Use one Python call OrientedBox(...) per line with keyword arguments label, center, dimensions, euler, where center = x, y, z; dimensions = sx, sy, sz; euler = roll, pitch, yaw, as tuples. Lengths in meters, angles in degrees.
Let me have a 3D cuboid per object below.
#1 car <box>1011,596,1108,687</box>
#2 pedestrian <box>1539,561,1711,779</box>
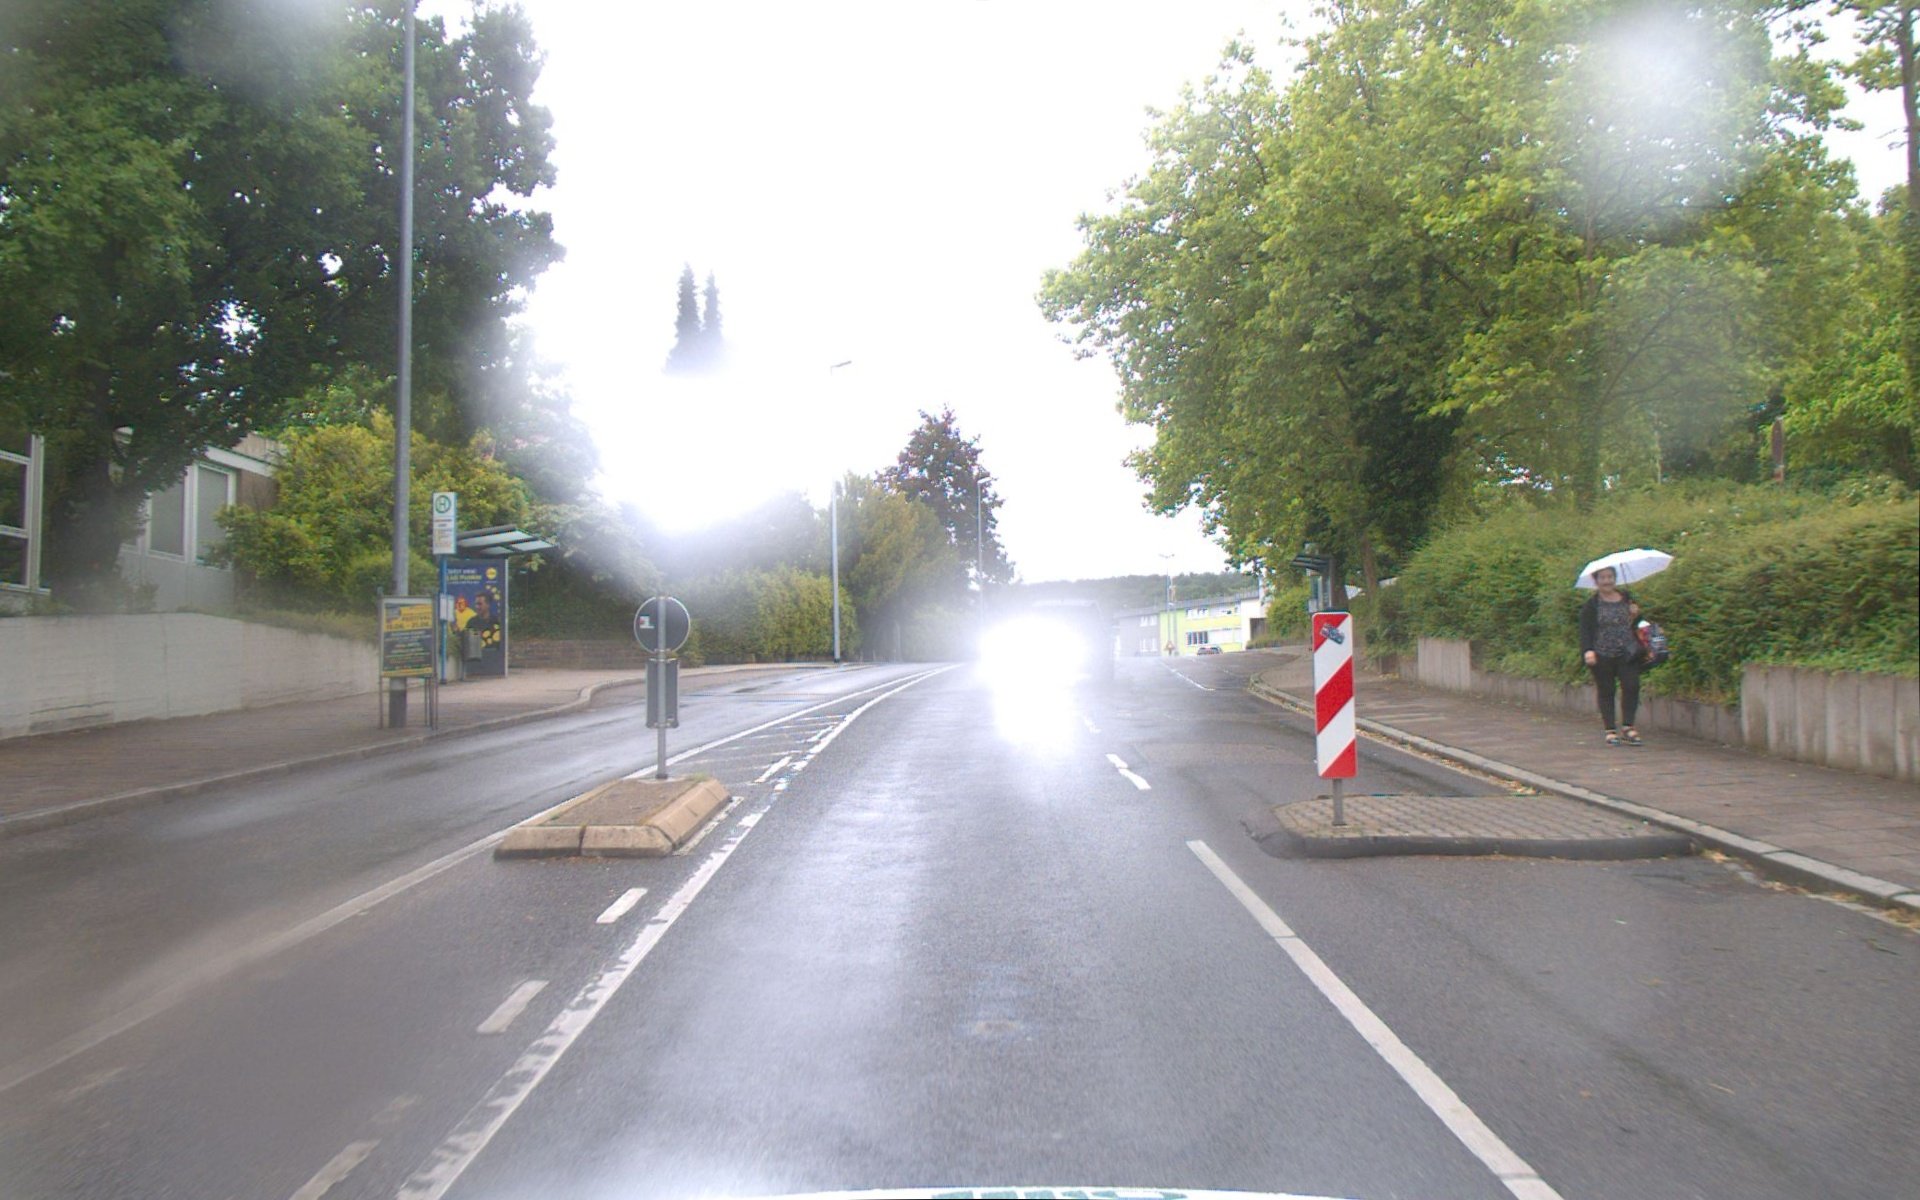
OrientedBox(label="car", center=(1.873, 0.768, 32.136), dimensions=(1.753, 1.631, 4.254), euler=(0, 0, 2))
OrientedBox(label="pedestrian", center=(6.129, 0.639, 15.309), dimensions=(1.030, 1.927, 1.132), euler=(-1, -3, -5))
